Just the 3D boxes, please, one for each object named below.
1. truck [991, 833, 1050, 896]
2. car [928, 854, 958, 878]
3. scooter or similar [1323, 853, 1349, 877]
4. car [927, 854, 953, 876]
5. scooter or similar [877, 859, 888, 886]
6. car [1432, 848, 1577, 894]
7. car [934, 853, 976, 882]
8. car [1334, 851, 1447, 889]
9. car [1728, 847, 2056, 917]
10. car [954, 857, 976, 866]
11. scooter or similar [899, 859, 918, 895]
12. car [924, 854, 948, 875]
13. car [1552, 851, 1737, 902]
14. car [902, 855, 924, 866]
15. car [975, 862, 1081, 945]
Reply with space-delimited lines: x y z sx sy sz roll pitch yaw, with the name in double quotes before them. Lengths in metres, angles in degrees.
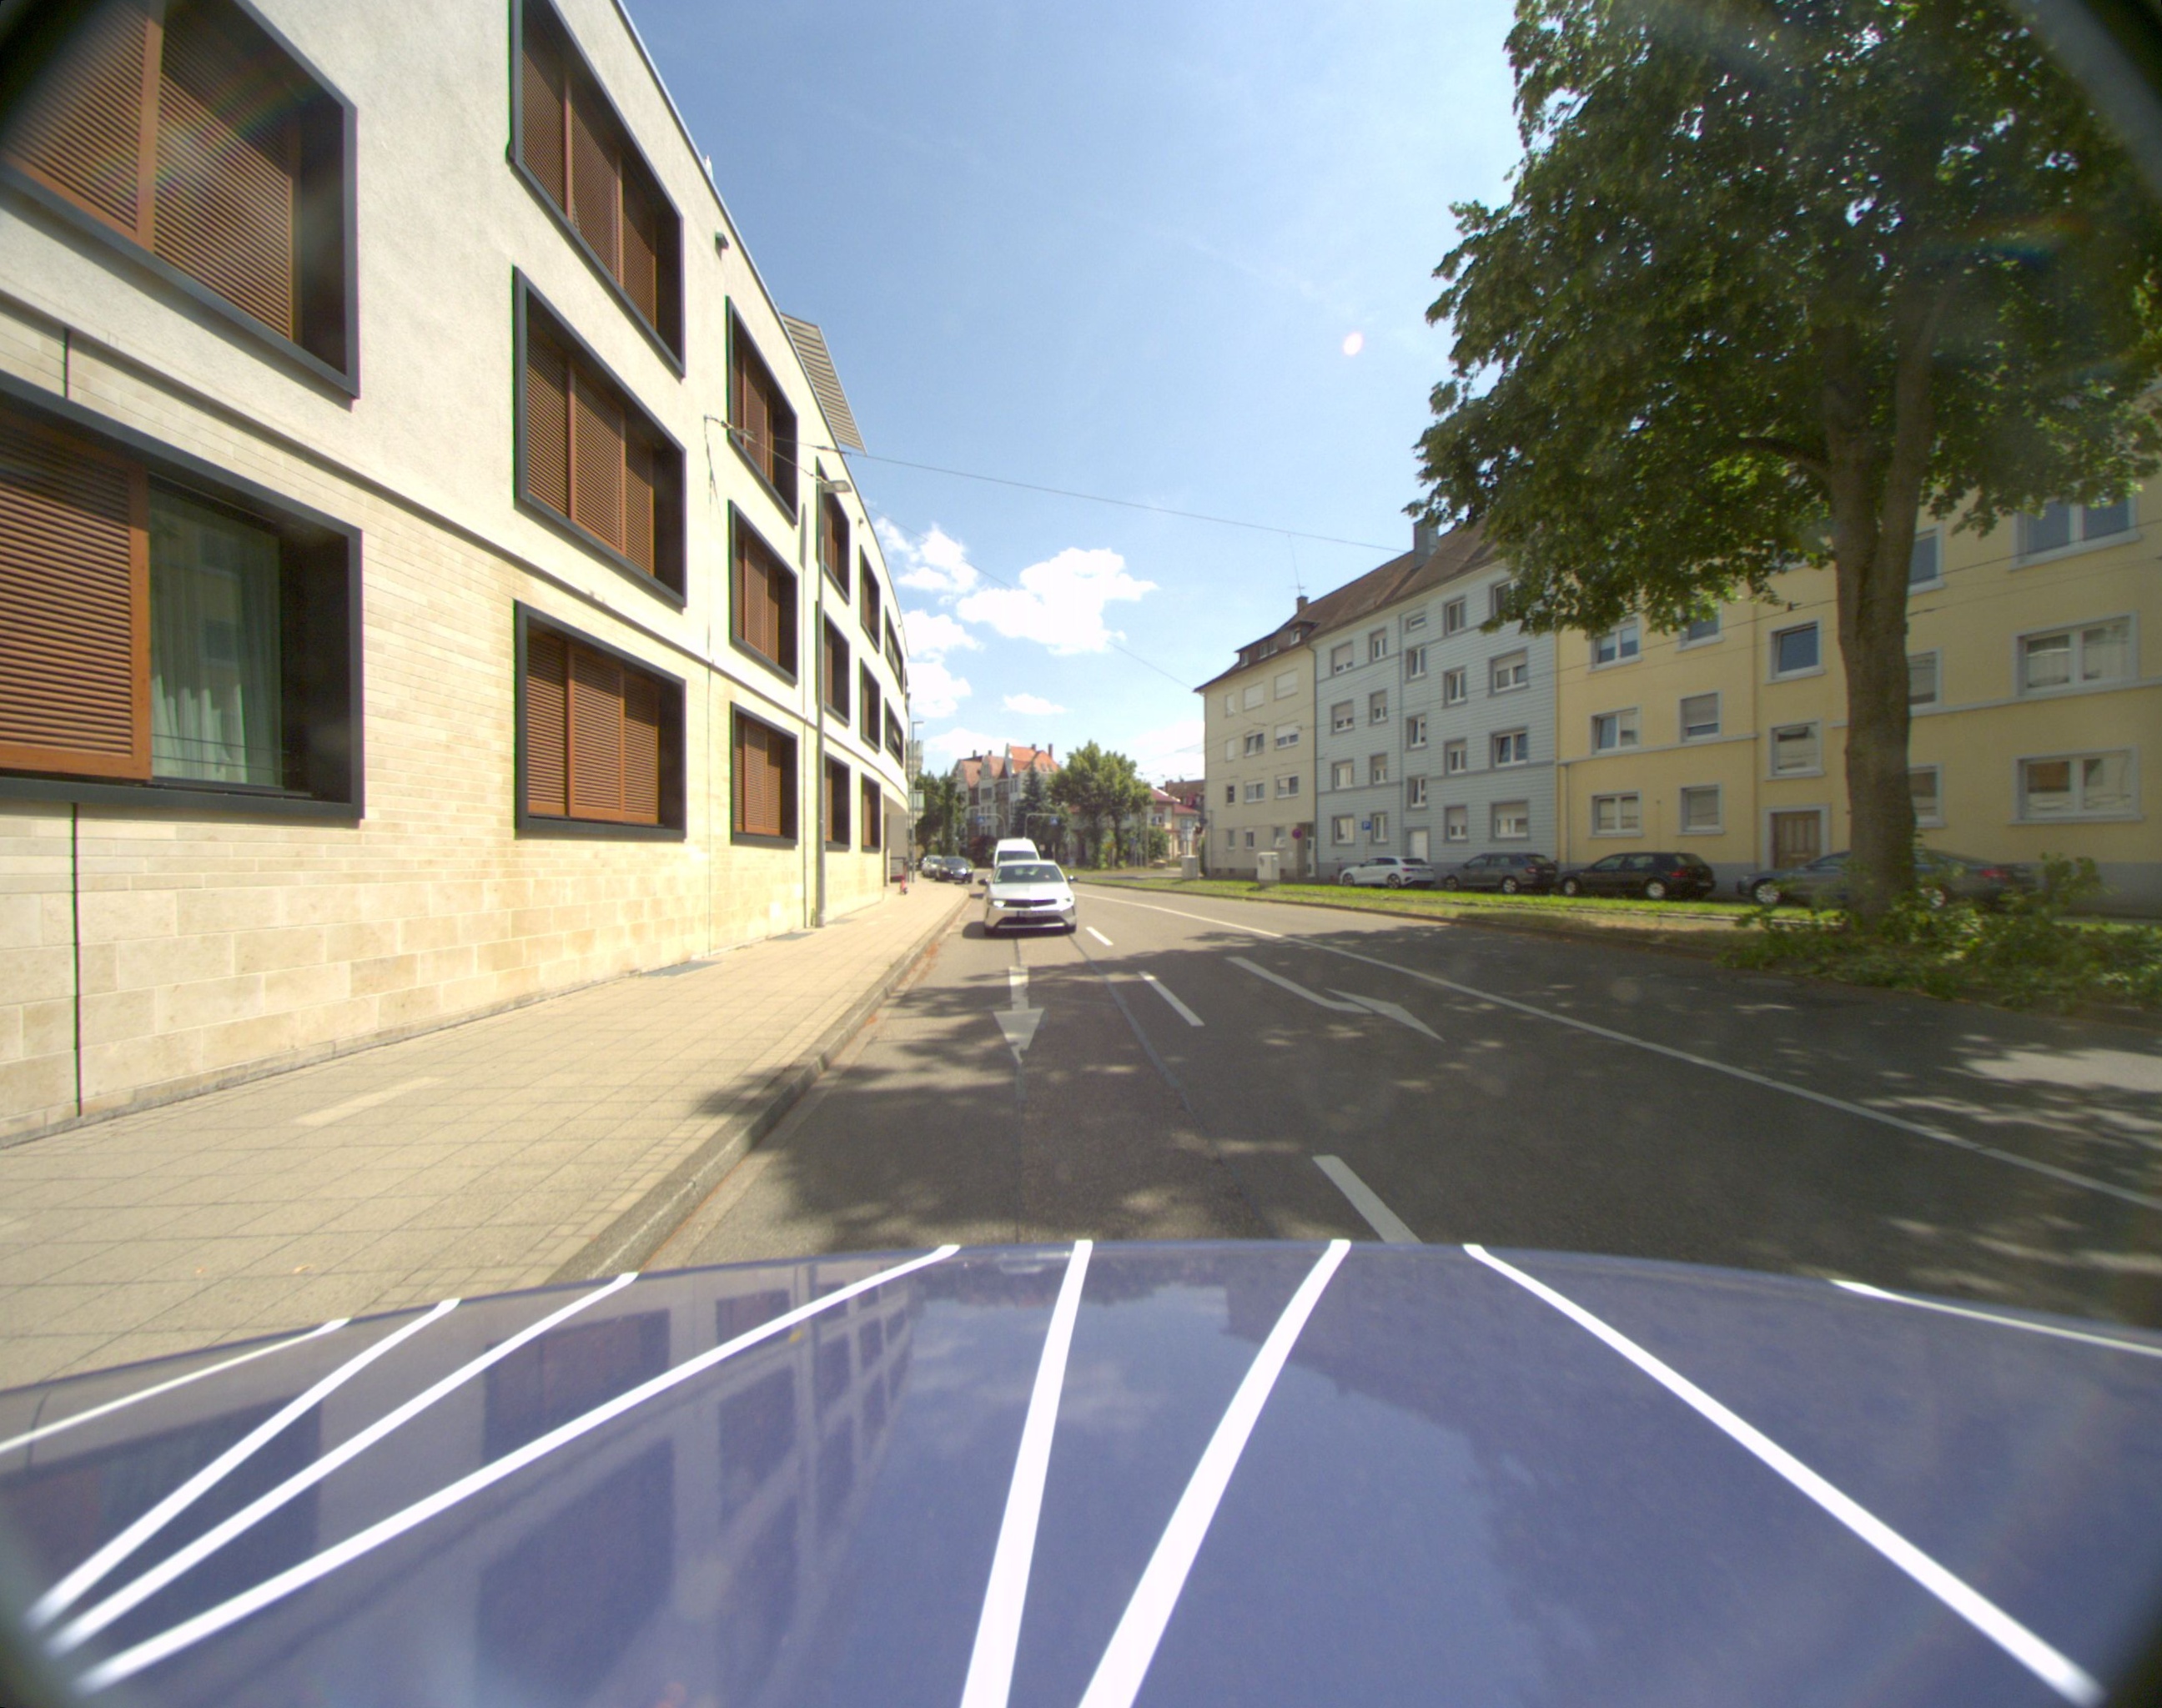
"truck" -2.542 0.352 30.523 2.021 2.236 5.403 -2 1 -8
"car" -9.244 0.791 50.698 1.599 1.424 3.701 3 0 -15
"scooter or similar" 13.587 0.573 40.530 0.641 1.216 1.318 -2 1 -20
"car" -10.340 0.771 55.577 1.733 1.424 4.038 3 0 -11
"scooter or similar" -8.866 0.805 33.869 0.424 1.204 1.313 0 0 -16
"car" 15.161 0.592 27.487 1.936 1.496 4.318 1 -1 -22
"car" -7.354 0.752 44.089 1.807 1.500 4.540 3 0 -17
"car" 13.101 0.655 32.456 1.936 1.442 4.368 2 -1 -22
"car" 18.459 0.592 17.691 1.936 1.389 4.855 1 -1 -19
"car" -16.649 1.077 108.743 1.821 1.319 3.990 0 -1 -30
"scooter or similar" -6.244 0.815 27.489 0.583 1.253 1.365 2 0 -14
"car" -11.959 0.834 62.904 1.732 1.601 3.797 2 1 -8
"car" 16.697 0.628 22.791 1.838 1.391 4.135 1 -1 -20
"car" -28.057 1.102 126.733 1.779 1.604 3.864 7 -4 -42
"car" -0.962 0.927 15.944 1.801 1.457 4.172 -1 0 1
